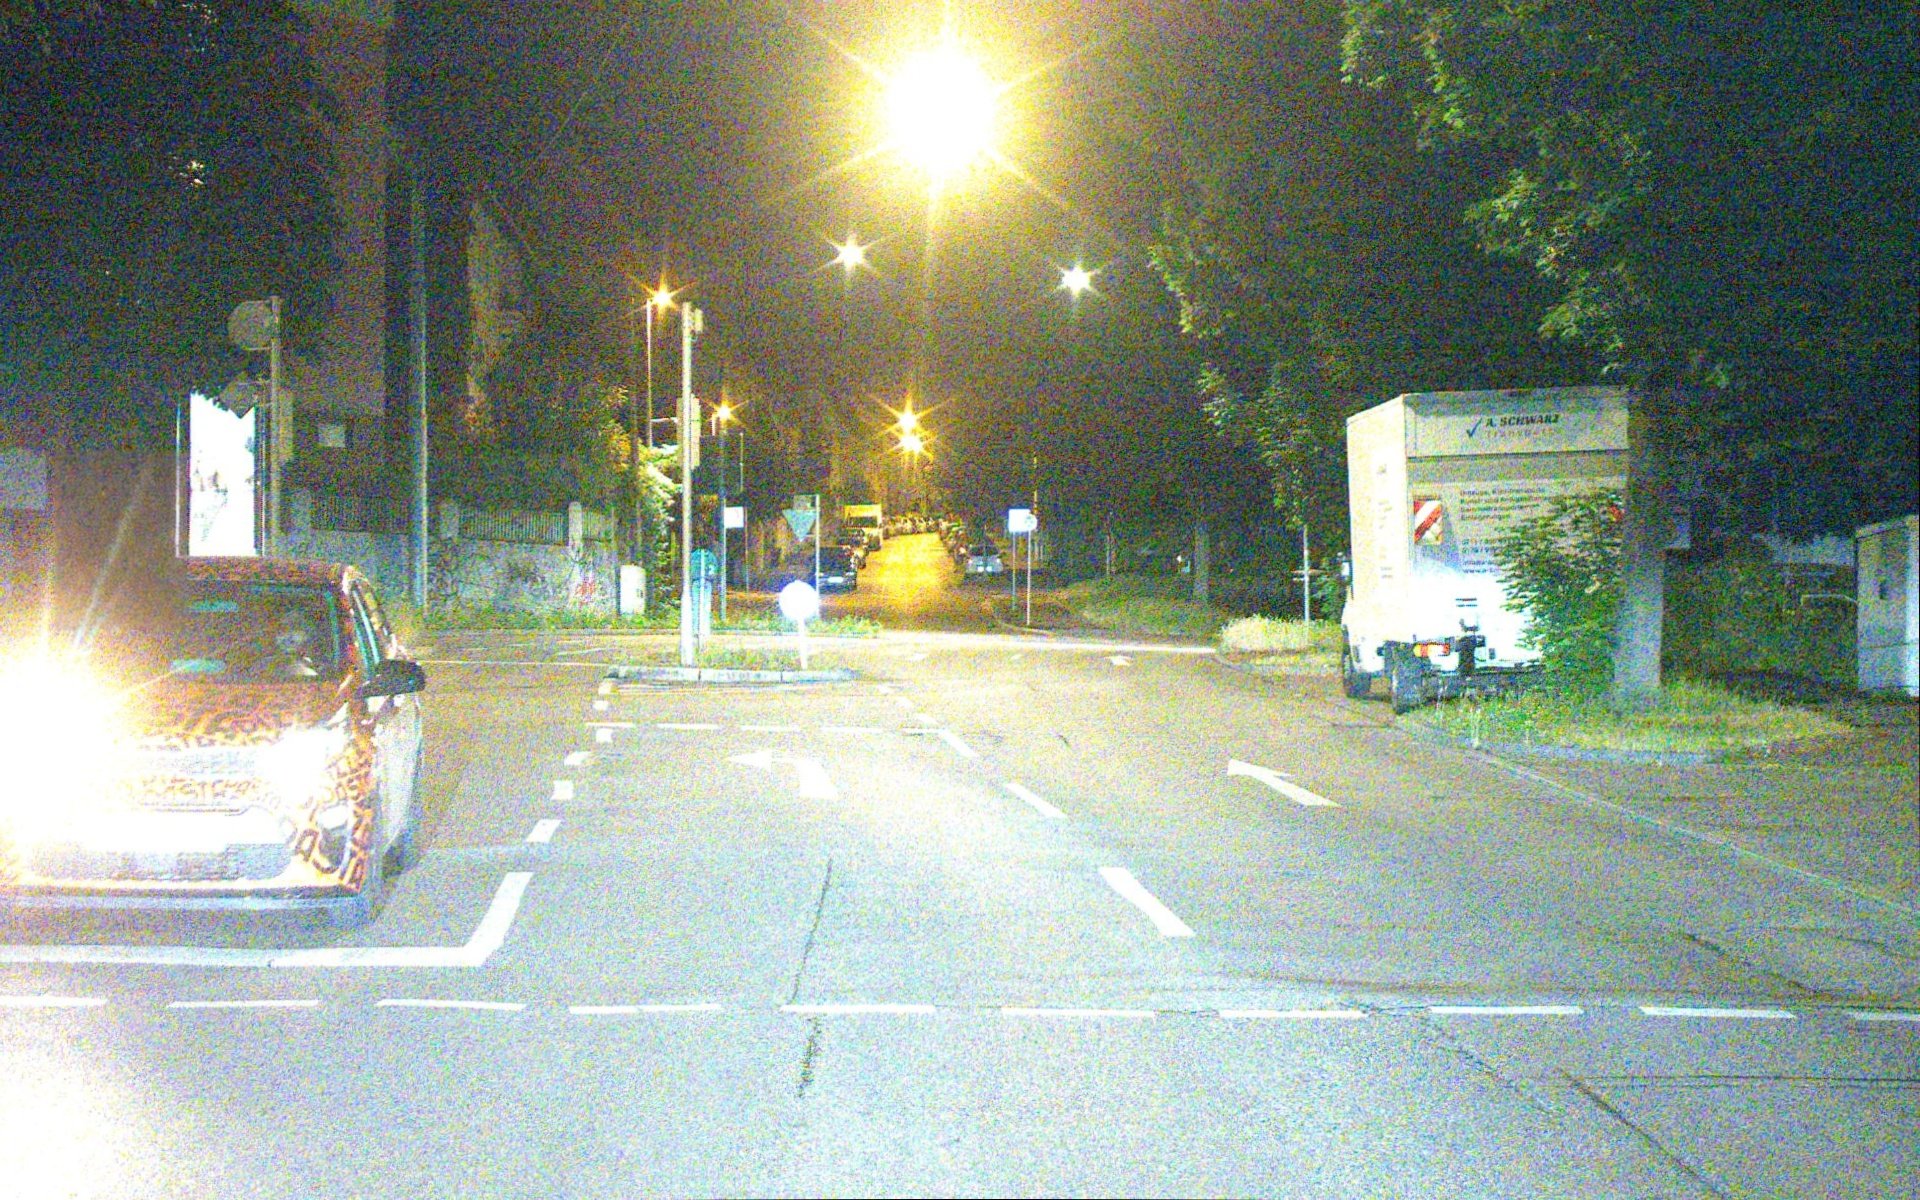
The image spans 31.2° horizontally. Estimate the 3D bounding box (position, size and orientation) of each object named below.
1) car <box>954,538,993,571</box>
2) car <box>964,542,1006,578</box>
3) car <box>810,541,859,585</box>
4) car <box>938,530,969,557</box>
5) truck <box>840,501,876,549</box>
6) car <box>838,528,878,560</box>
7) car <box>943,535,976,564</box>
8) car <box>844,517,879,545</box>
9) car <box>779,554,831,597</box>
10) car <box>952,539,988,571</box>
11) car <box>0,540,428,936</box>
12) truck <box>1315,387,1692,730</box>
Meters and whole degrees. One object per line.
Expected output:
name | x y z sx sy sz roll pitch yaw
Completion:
car | 0.590 -2.032 153.087 1.634 1.447 3.485 1 1 -1
car | 1.029 -1.675 143.354 1.634 1.447 3.485 1 1 -1
car | -4.896 -1.459 134.440 1.815 1.678 4.000 1 1 -1
car | -0.373 -3.164 191.476 1.634 1.447 3.485 1 1 -1
truck | -6.215 -4.539 209.573 2.086 2.838 5.832 1 1 -2
car | -4.790 -2.613 160.561 1.815 1.486 4.000 1 1 -2
car | -0.017 -2.619 178.509 1.634 1.447 3.485 1 1 -1
car | -5.369 -3.733 186.943 1.815 1.486 4.000 1 1 -2
car | -5.325 -0.849 118.220 1.634 1.447 3.485 1 1 -1
car | 0.453 -2.083 159.272 1.634 1.447 3.485 1 1 -1
car | -3.207 0.502 14.820 1.581 1.496 3.397 1 1 -5
truck | 5.300 -0.431 34.627 2.749 3.100 6.258 1 1 0
